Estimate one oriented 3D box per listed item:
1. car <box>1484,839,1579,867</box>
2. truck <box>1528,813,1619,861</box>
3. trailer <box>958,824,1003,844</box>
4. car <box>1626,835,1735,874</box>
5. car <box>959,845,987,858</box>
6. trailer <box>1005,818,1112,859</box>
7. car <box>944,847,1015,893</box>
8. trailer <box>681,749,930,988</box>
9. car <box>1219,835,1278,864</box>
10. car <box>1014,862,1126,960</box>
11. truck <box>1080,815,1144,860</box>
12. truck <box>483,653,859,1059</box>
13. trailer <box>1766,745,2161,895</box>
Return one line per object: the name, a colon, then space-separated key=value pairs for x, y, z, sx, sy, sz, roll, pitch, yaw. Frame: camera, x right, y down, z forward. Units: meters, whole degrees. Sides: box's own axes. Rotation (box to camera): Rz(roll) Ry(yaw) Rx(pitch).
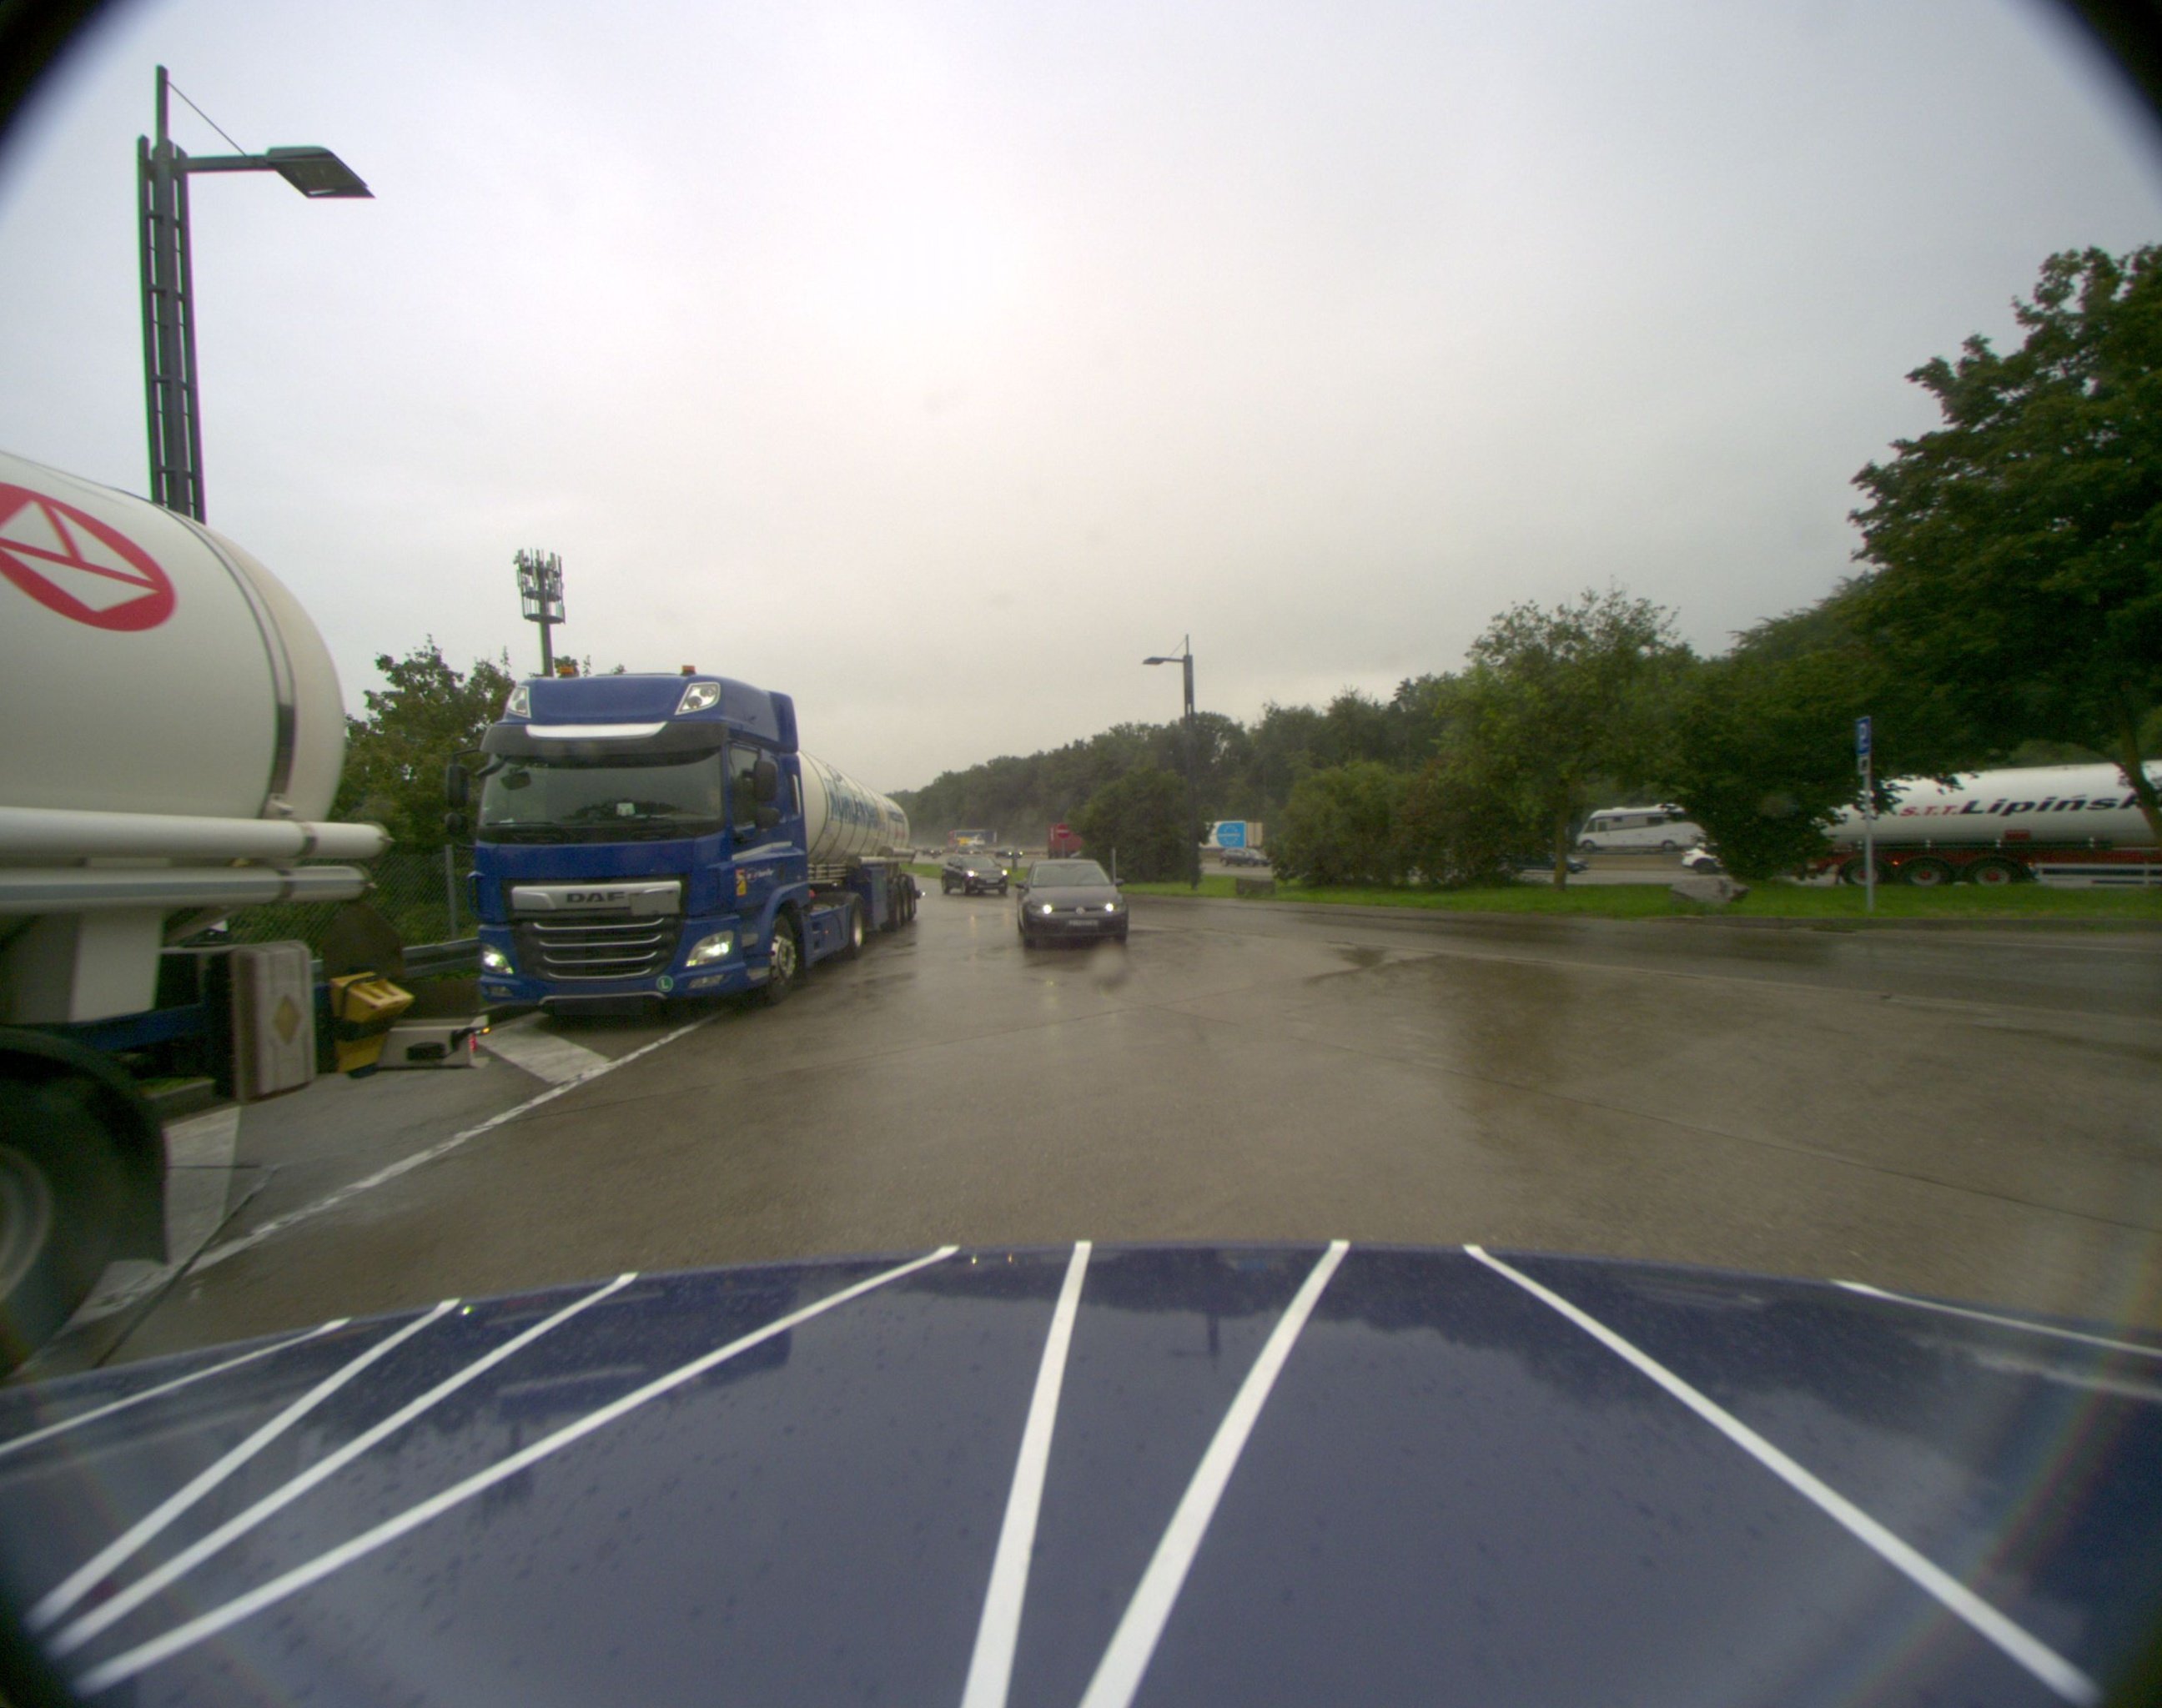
car: x=24.795 y=-0.051 z=41.978 sx=1.827 sy=1.406 sz=4.113 roll=-2 pitch=1 yaw=-34
truck: x=35.036 y=-1.186 z=54.111 sx=2.250 sy=3.141 sz=4.920 roll=-7 pitch=4 yaw=-41
trailer: x=-19.081 y=-3.801 z=143.728 sx=2.200 sy=3.479 sz=13.097 roll=-7 pitch=5 yaw=-36
car: x=30.762 y=0.014 z=39.099 sx=2.009 sy=1.864 sz=3.990 roll=-2 pitch=1 yaw=-35
car: x=-13.661 y=-0.324 z=95.923 sx=1.792 sy=1.550 sz=4.087 roll=-2 pitch=1 yaw=-37
trailer: x=-2.569 y=-1.527 z=73.704 sx=2.696 sy=3.487 sz=15.084 roll=-6 pitch=5 yaw=-33
car: x=-4.328 y=0.608 z=31.901 sx=1.813 sy=1.533 sz=3.991 roll=-6 pitch=4 yaw=-23
trailer: x=-4.785 y=0.132 z=15.570 sx=1.986 sy=3.206 sz=10.315 roll=-2 pitch=1 yaw=-5
car: x=12.626 y=-0.370 z=57.555 sx=2.003 sy=2.002 sz=4.101 roll=-3 pitch=3 yaw=-34
car: x=-0.133 y=0.904 z=13.868 sx=1.670 sy=1.394 sz=4.262 roll=-3 pitch=0 yaw=1
truck: x=2.613 y=-1.452 z=65.851 sx=2.701 sy=3.638 sz=5.311 roll=-6 pitch=5 yaw=-33
truck: x=-4.281 y=-0.020 z=9.080 sx=2.059 sy=3.511 sz=4.743 roll=-2 pitch=1 yaw=-5
trailer: x=28.523 y=-0.991 z=23.177 sx=2.776 sy=4.004 sz=11.010 roll=-4 pitch=3 yaw=-38
